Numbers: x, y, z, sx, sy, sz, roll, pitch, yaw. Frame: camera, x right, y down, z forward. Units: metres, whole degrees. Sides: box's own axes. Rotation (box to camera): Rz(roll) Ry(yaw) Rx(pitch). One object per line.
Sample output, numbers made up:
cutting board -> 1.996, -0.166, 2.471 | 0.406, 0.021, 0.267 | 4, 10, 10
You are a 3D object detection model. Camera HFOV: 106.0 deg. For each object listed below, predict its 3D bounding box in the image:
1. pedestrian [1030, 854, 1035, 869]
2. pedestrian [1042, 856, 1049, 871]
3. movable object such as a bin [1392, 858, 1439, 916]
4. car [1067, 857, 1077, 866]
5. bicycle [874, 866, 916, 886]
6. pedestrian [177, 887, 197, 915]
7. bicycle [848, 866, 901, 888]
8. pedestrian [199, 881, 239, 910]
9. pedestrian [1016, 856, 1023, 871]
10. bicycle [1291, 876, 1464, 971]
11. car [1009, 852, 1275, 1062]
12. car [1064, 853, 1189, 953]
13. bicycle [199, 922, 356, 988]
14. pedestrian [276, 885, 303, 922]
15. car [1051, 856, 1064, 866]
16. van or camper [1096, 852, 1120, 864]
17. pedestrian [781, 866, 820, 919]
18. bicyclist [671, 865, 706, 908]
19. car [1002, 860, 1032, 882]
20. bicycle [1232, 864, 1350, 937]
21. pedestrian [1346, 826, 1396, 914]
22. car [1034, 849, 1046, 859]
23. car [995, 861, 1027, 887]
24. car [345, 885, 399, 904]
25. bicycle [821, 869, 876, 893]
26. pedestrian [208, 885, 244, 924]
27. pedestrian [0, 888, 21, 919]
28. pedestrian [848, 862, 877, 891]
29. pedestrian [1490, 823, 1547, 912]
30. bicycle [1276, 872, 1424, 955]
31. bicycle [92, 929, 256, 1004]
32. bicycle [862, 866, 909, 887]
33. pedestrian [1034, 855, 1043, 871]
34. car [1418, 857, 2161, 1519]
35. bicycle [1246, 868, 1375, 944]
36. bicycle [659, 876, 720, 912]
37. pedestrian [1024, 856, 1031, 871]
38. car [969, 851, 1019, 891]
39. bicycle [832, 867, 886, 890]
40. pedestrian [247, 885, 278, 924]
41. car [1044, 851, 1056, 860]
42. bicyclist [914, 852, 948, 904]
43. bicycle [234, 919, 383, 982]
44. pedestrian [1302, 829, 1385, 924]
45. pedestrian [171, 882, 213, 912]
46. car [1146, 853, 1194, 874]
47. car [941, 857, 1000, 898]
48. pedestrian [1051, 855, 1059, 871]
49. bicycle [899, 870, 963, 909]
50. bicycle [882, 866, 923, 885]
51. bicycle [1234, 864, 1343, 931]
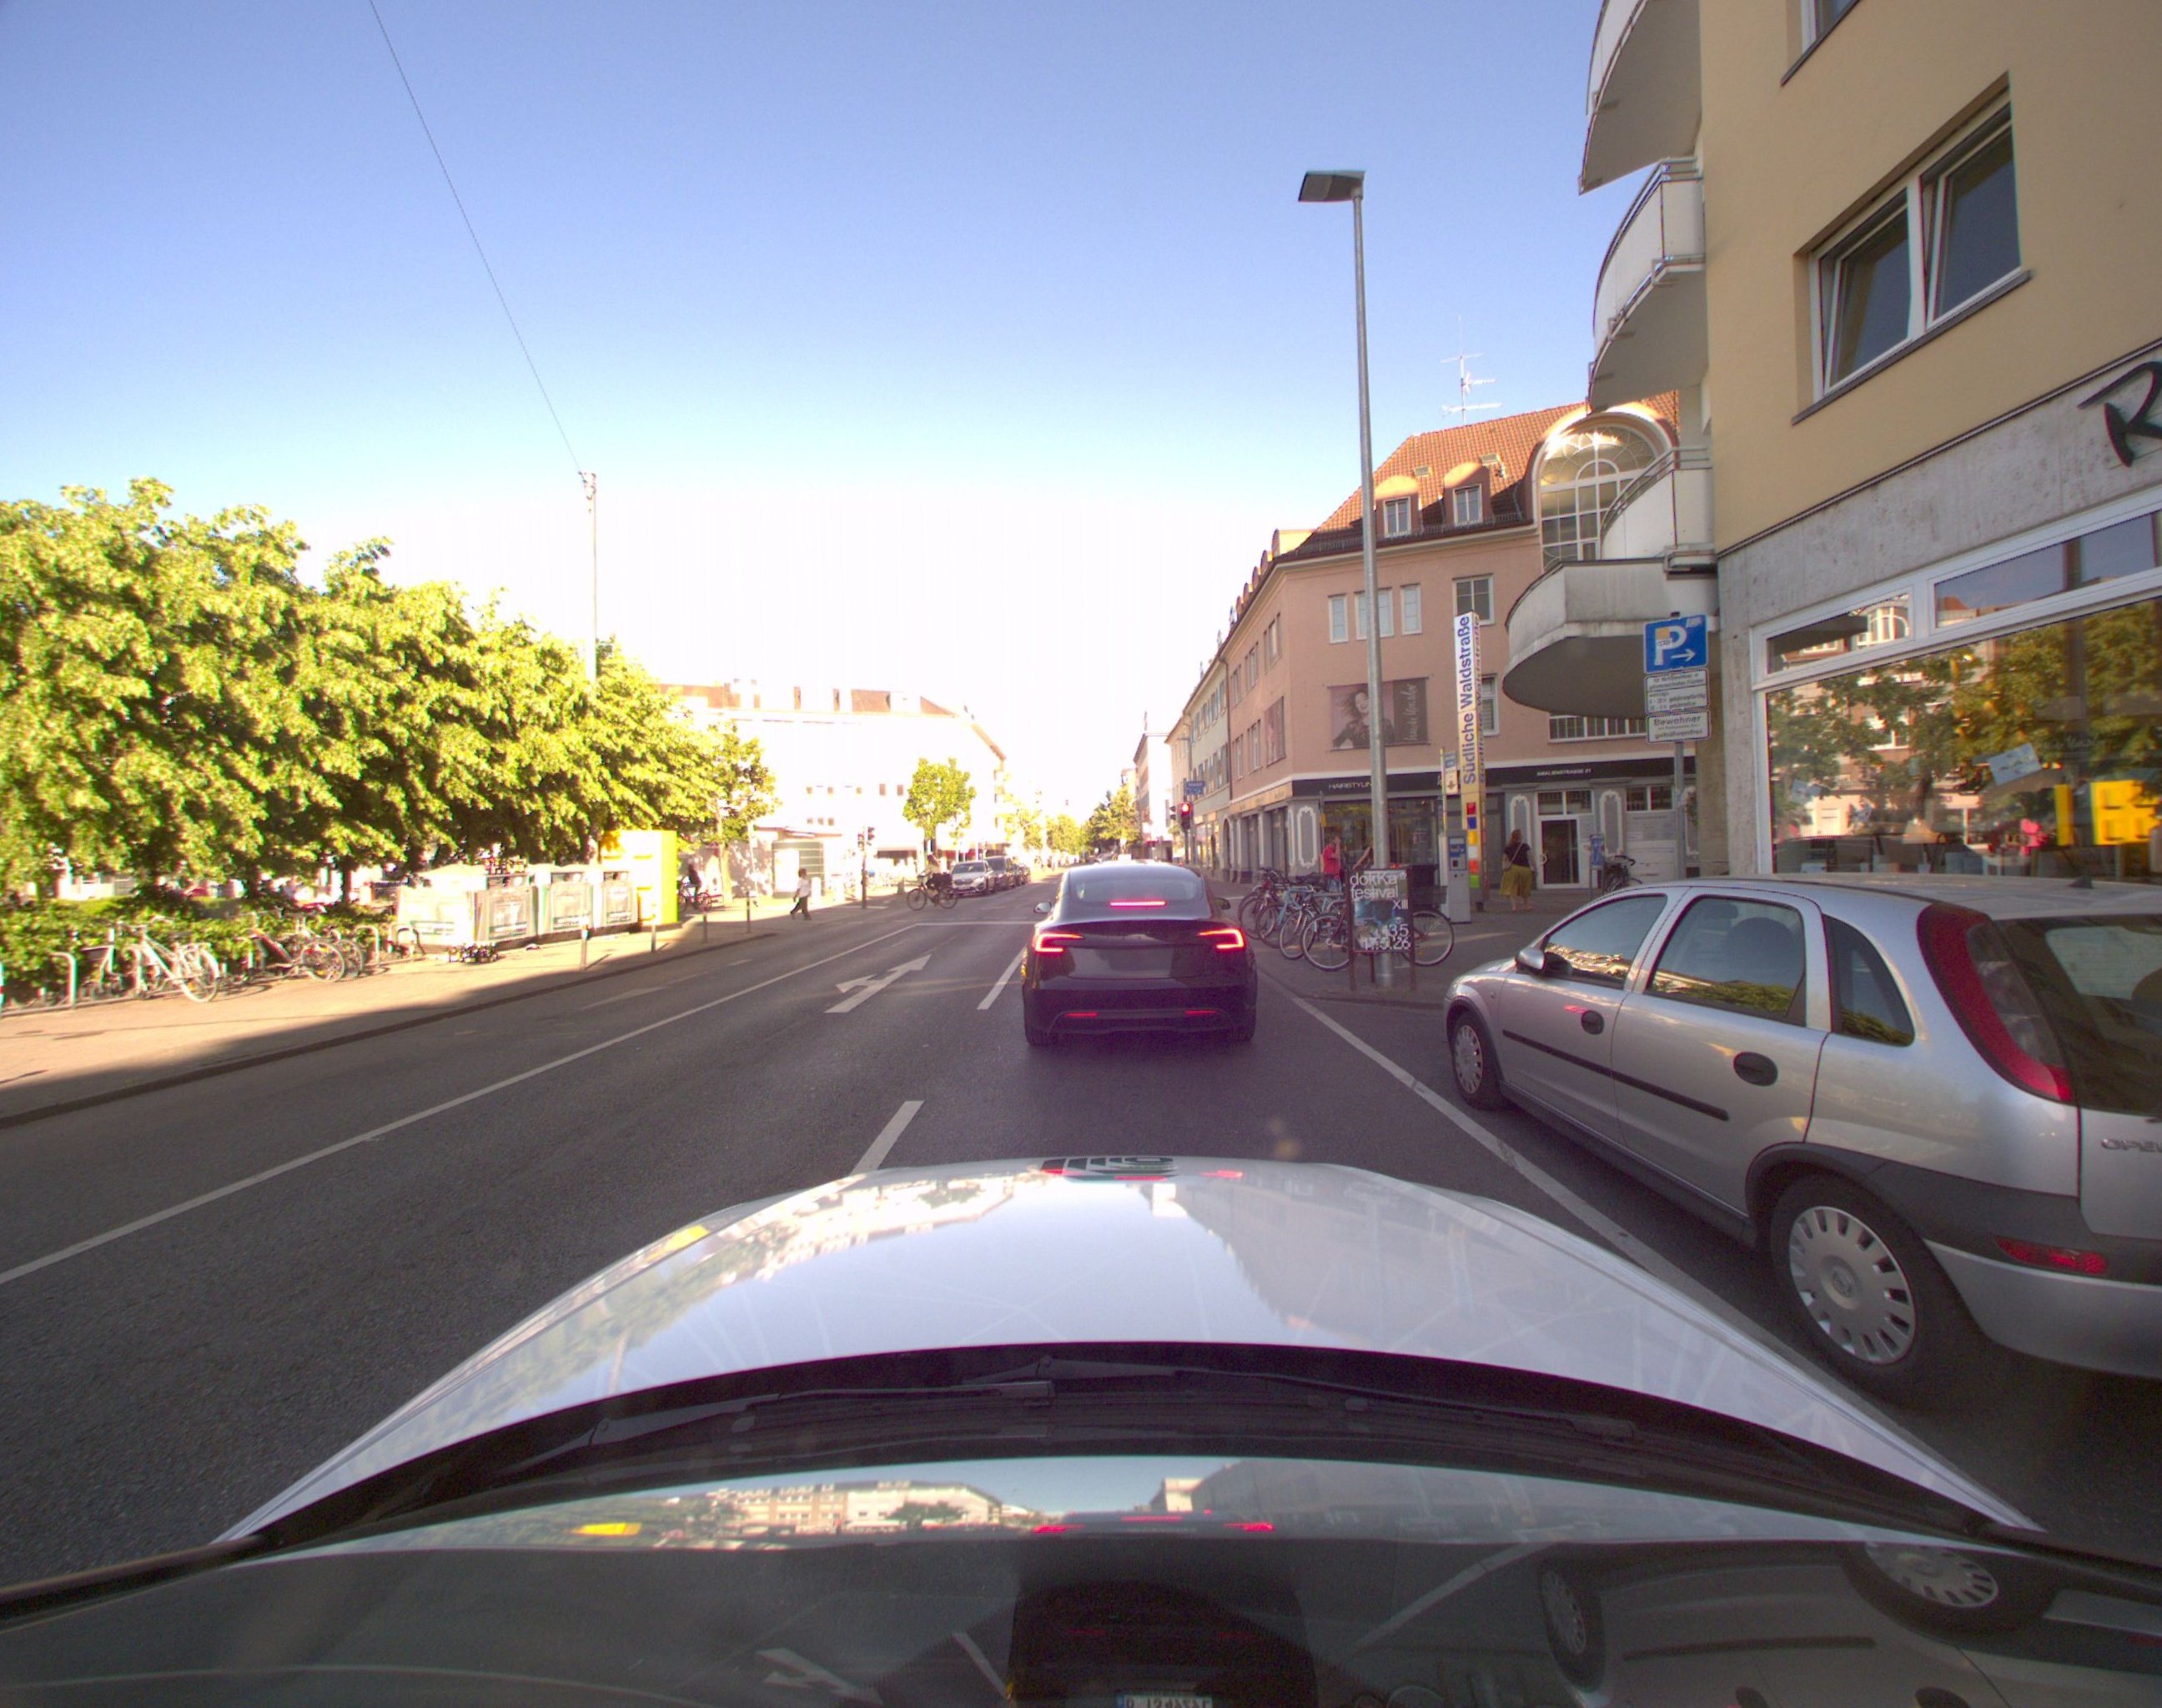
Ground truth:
pedestrian -> -6.217, 0.977, 104.232 | 0.693, 1.868, 0.658 | 0, -1, -3
pedestrian -> -4.205, 1.139, 96.956 | 0.696, 1.868, 0.905 | 0, -1, -14
movable object such as a bin -> 6.742, 0.658, 16.430 | 0.633, 1.103, 0.728 | -4, -1, 5
car -> -1.998, 1.778, 187.437 | 2.124, 1.970, 4.135 | -1, 0, 2
bicycle -> -12.002, 1.399, 52.585 | 2.535, 1.251, 0.942 | 0, -1, -1
pedestrian -> -50.996, 2.687, 46.463 | 0.629, 1.524, 0.573 | 0, -1, -34
bicycle -> -12.158, 1.361, 47.991 | 2.867, 1.270, 0.942 | 0, -1, -1
pedestrian -> -37.100, 1.761, 35.062 | 0.857, 1.214, 0.905 | -1, -1, 21
pedestrian -> -7.370, 1.135, 97.314 | 0.734, 1.868, 0.787 | 0, -1, -15
bicycle -> 3.633, 0.843, 10.090 | 1.875, 1.044, 0.653 | -2, 0, 3
car -> 0.493, 0.737, 7.890 | 1.843, 1.447, 4.453 | 0, 0, 2
car -> 0.739, 0.747, 14.314 | 1.843, 1.482, 4.453 | 0, 0, 2
bicycle -> -11.429, 1.421, 11.611 | 1.667, 0.859, 0.469 | 0, -1, -5
pedestrian -> -32.704, 2.036, 33.652 | 0.553, 1.508, 0.611 | -1, -1, 17
car -> -4.859, 1.322, 166.816 | 2.405, 1.970, 4.679 | -1, 0, 2
van or camper -> 5.633, 0.853, 167.668 | 4.832, 2.438, 1.851 | -1, 0, 1
pedestrian -> -8.362, 1.126, 24.293 | 0.919, 1.543, 0.694 | 0, -1, -4
bicyclist -> -13.809, 1.140, 28.659 | 0.947, 1.484, 0.611 | -1, -1, 16
car -> -4.430, 1.153, 57.015 | 1.688, 1.390, 3.915 | -3, -1, 0
bicycle -> 3.493, 0.773, 13.650 | 1.806, 1.152, 0.653 | -1, 0, 3
pedestrian -> 6.384, 0.352, 17.953 | 0.678, 1.849, 0.894 | -5, -1, 3
car -> -9.020, -0.013, 180.146 | 2.266, 2.014, 4.720 | 0, -1, 3
car -> -4.260, 1.203, 50.054 | 1.455, 1.430, 3.607 | -5, -1, 2
car -> -51.918, 2.979, 59.669 | 2.758, 1.266, 1.234 | 0, -1, -23
bicycle -> -12.328, 1.436, 43.252 | 2.652, 1.195, 0.942 | 0, -1, -1
pedestrian -> -34.492, 2.017, 32.865 | 0.928, 1.520, 0.924 | 0, -1, -43
pedestrian -> -66.791, 3.068, 50.281 | 1.305, 1.842, 1.091 | 0, -1, -31
pedestrian -> -12.636, 1.286, 47.043 | 1.273, 1.611, 1.083 | 0, -1, -41
pedestrian -> 9.040, 0.272, 16.858 | 0.717, 1.754, 0.789 | -4, -1, 8
bicycle -> 3.653, 0.796, 11.163 | 1.806, 1.060, 0.653 | -1, 0, 3
bicycle -> -11.464, 1.415, 10.313 | 1.560, 0.886, 0.470 | 0, -1, 1
bicycle -> -12.057, 1.385, 50.309 | 2.655, 1.259, 0.942 | 0, -1, -1
pedestrian -> -4.935, 1.097, 94.782 | 0.726, 1.868, 0.796 | -1, -1, 30
car -> 2.958, 0.736, 3.554 | 1.578, 1.426, 3.581 | 0, -1, 2
bicycle -> 3.516, 0.789, 12.574 | 1.806, 1.102, 0.653 | -1, 0, 3
bicycle -> -13.782, 1.389, 28.650 | 1.979, 1.223, 0.632 | 0, -2, 16
pedestrian -> -6.434, 1.129, 97.428 | 0.734, 1.868, 0.787 | 0, -1, -15
car -> -4.499, 0.833, 42.928 | 1.938, 1.947, 4.822 | -1, 0, 2
bicycle -> -12.396, 1.369, 45.596 | 2.772, 1.274, 0.933 | 0, -1, -2
pedestrian -> -33.224, 2.030, 33.068 | 0.827, 1.520, 0.782 | -1, -1, 38
car -> -7.164, 0.290, 188.741 | 2.266, 2.014, 4.720 | 0, -1, 3
bicyclist -> -4.887, 0.782, 26.558 | 0.820, 1.614, 0.581 | -3, 0, 12
bicycle -> -11.464, 1.422, 12.110 | 1.663, 0.859, 0.469 | 0, -1, -5
pedestrian -> 5.008, 0.418, 15.551 | 1.067, 1.719, 1.100 | 0, -1, -39
pedestrian -> -37.133, 1.778, 34.027 | 0.925, 1.214, 0.873 | -1, -1, 19
car -> 8.144, 0.872, 74.657 | 4.006, 1.867, 1.686 | -1, 0, -20
car -> -4.887, 1.014, 36.606 | 1.818, 1.565, 4.302 | -5, -1, 2
pedestrian -> -3.072, 1.093, 95.998 | 0.776, 1.868, 1.002 | 0, -1, -19
bicycle -> -4.890, 1.165, 26.559 | 1.940, 1.158, 0.577 | -4, -1, 12
bicycle -> -12.056, 1.419, 55.012 | 2.535, 1.251, 0.942 | 0, -1, -1
bicycle -> 3.734, 0.781, 14.779 | 1.806, 1.152, 0.653 | -1, 0, 3
